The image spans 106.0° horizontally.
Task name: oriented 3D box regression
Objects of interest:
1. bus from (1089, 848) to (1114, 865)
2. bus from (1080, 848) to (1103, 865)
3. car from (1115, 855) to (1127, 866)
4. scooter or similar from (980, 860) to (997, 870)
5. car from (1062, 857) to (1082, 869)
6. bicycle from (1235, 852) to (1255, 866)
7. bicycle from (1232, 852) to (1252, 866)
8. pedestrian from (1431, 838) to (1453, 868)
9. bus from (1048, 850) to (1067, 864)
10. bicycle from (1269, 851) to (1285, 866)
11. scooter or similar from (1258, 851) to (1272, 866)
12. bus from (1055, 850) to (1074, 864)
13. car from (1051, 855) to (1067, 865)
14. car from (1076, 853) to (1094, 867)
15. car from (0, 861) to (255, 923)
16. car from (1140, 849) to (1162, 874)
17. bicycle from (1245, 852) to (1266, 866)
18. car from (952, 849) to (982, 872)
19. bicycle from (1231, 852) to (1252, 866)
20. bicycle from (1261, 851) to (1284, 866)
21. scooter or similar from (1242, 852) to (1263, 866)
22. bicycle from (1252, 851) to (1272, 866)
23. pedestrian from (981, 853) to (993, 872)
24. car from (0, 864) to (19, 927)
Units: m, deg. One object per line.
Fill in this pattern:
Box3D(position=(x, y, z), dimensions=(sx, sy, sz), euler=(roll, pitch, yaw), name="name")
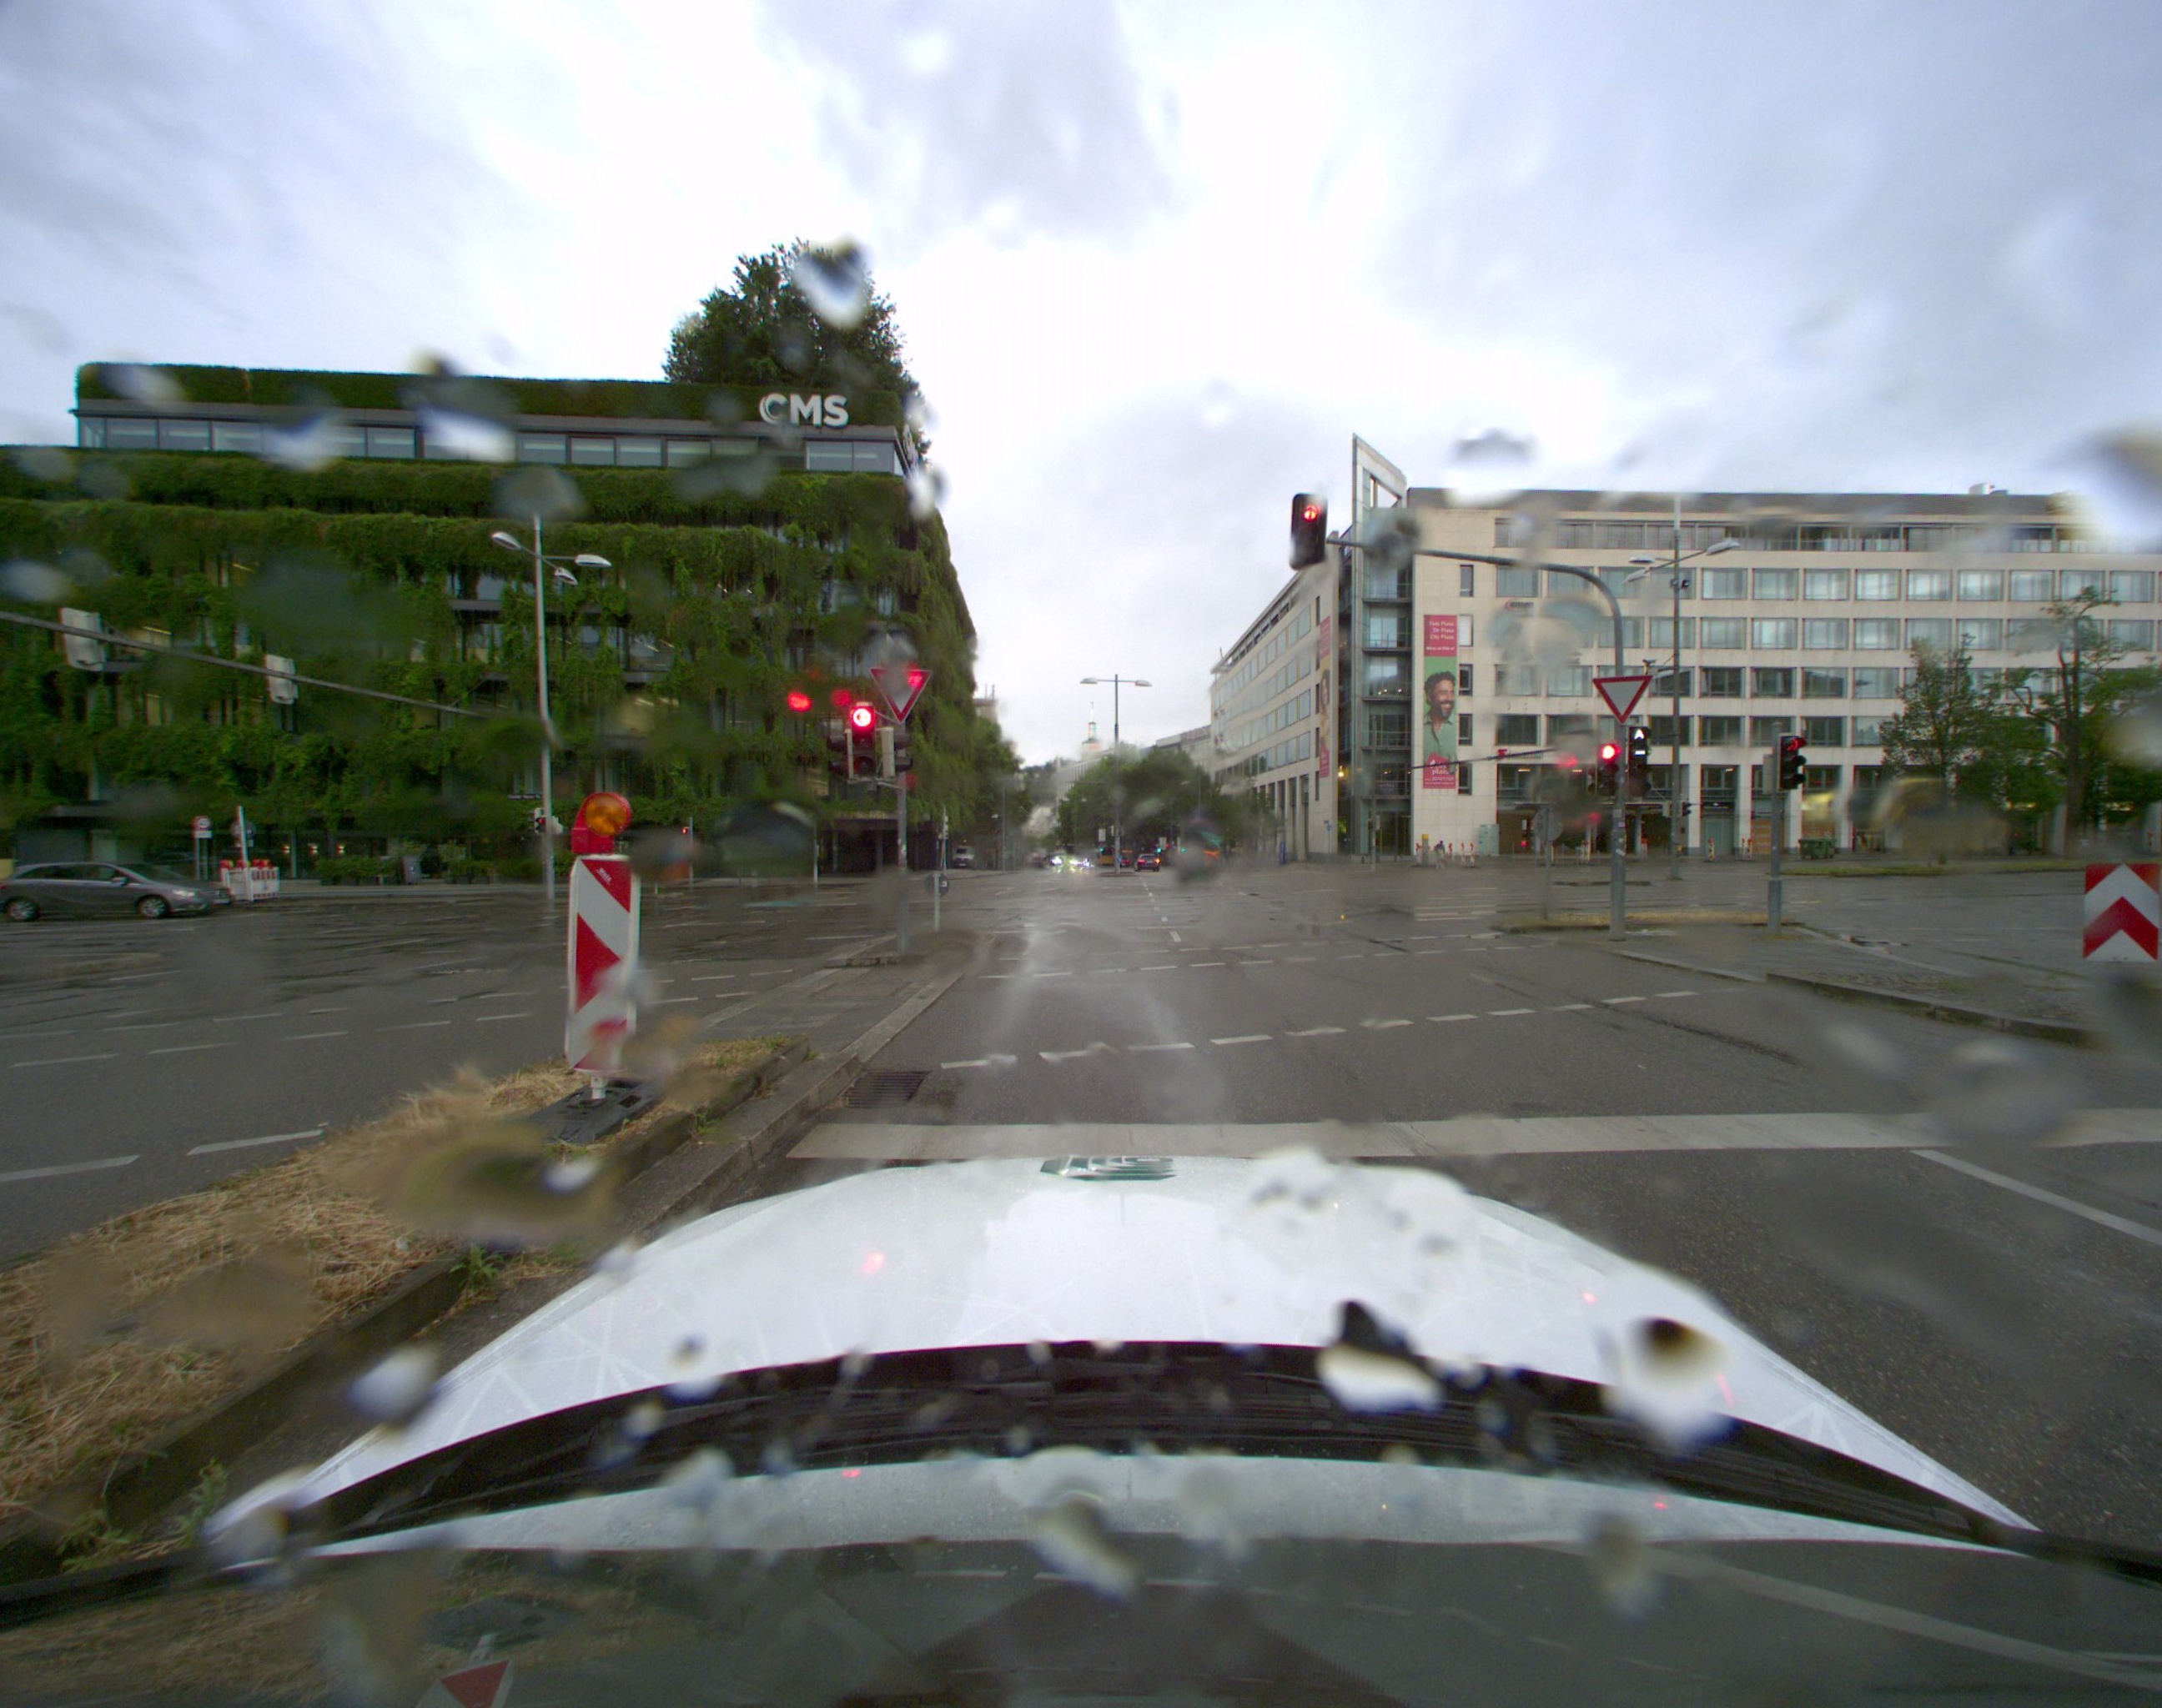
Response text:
Box3D(position=(3.678, 0.421, 146.089), dimensions=(2.631, 2.995, 7.415), euler=(-1, 0, -13), name="bus")
Box3D(position=(1.985, 0.441, 153.282), dimensions=(2.631, 2.995, 7.415), euler=(-1, 0, -13), name="bus")
Box3D(position=(5.713, 0.939, 116.603), dimensions=(1.775, 1.508, 4.001), euler=(0, -1, 2), name="car")
Box3D(position=(-9.429, 1.120, 82.948), dimensions=(0.616, 1.004, 1.671), euler=(-1, 0, 40), name="scooter or similar")
Box3D(position=(-1.337, 1.319, 118.855), dimensions=(2.163, 1.765, 4.816), euler=(-2, 0, -9), name="car")
Box3D(position=(14.939, 0.454, 74.142), dimensions=(1.770, 1.194, 0.587), euler=(0, -1, 3), name="bicycle")
Box3D(position=(14.472, 0.450, 73.235), dimensions=(1.770, 1.194, 0.587), euler=(0, -1, 3), name="bicycle")
Box3D(position=(21.868, -0.070, 49.309), dimensions=(0.958, 1.816, 0.837), euler=(0, -1, 1), name="pedestrian")
Box3D(position=(-5.243, 0.597, 180.717), dimensions=(2.631, 2.995, 7.415), euler=(-1, 0, -13), name="bus")
Box3D(position=(16.051, 0.386, 66.737), dimensions=(0.579, 1.194, 1.794), euler=(-1, -1, 40), name="bicycle")
Box3D(position=(14.420, 0.375, 63.980), dimensions=(0.951, 1.194, 0.458), euler=(-1, -1, 42), name="scooter or similar")
Box3D(position=(-3.546, 0.644, 173.574), dimensions=(2.631, 2.995, 7.294), euler=(-1, 0, -13), name="bus")
Box3D(position=(-4.016, 1.176, 147.428), dimensions=(2.165, 1.765, 5.091), euler=(0, -1, -11), name="car")
Box3D(position=(0.517, 0.775, 102.448), dimensions=(2.158, 1.765, 5.109), euler=(0, -1, -1), name="car")
Box3D(position=(-26.123, 0.985, 22.065), dimensions=(4.901, 1.488, 1.924), euler=(-1, 0, -15), name="car")
Box3D(position=(5.839, 0.647, 67.749), dimensions=(1.535, 2.014, 4.678), euler=(0, -1, 8), name="car")
Box3D(position=(15.288, 0.430, 71.411), dimensions=(1.770, 1.194, 0.587), euler=(0, -1, 3), name="bicycle")
Box3D(position=(-9.559, 0.550, 68.734), dimensions=(1.863, 1.839, 4.001), euler=(0, -1, 2), name="car")
Box3D(position=(14.296, 0.446, 72.604), dimensions=(1.770, 1.194, 0.587), euler=(0, -1, 3), name="bicycle")
Box3D(position=(15.201, 0.375, 64.646), dimensions=(1.607, 1.194, 0.590), euler=(-1, -1, 27), name="bicycle")
Box3D(position=(14.908, 0.427, 70.797), dimensions=(1.770, 1.194, 0.587), euler=(0, -1, 3), name="scooter or similar")
Box3D(position=(14.729, 0.391, 66.211), dimensions=(0.588, 1.194, 1.768), euler=(0, -1, -26), name="bicycle")
Box3D(position=(-8.080, 0.713, 70.259), dimensions=(0.930, 1.644, 0.774), euler=(0, -1, 1), name="pedestrian")
Box3D(position=(-27.340, 1.003, 18.308), dimensions=(3.981, 1.475, 1.996), euler=(-1, 0, -6), name="car")
